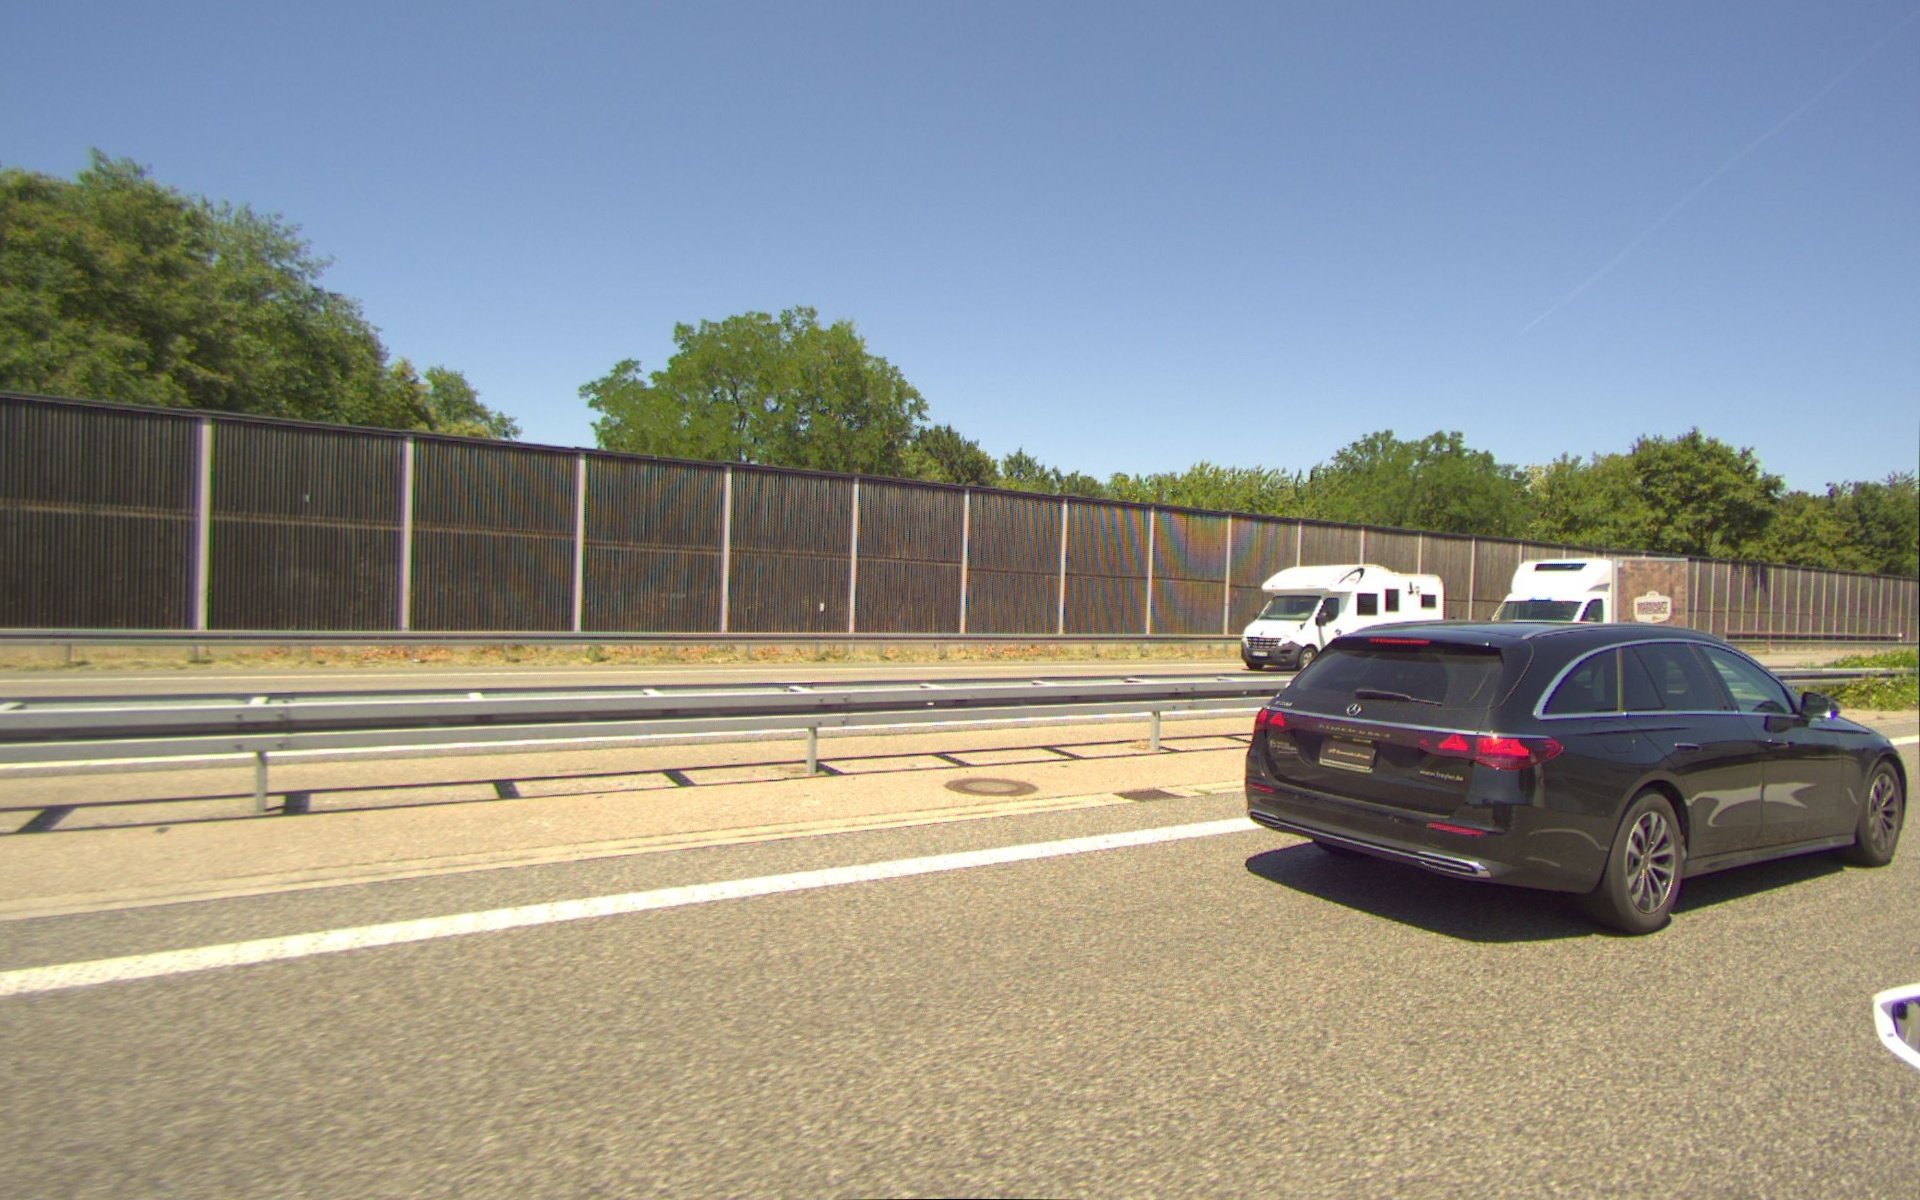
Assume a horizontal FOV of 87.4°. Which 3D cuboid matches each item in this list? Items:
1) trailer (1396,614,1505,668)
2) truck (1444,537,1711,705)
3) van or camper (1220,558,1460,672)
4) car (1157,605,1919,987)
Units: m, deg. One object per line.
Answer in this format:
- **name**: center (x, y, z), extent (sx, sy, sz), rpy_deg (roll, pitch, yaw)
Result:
- **trailer**: center (15.423, 1.266, 31.558), extent (3.057, 1.599, 1.718), rpy_deg (1, -1, -32)
- **truck**: center (14.363, 0.500, 23.197), extent (6.841, 3.397, 2.397), rpy_deg (1, -1, -31)
- **van or camper**: center (11.036, 0.470, 28.931), extent (7.293, 2.952, 2.544), rpy_deg (2, -1, -32)
- **car**: center (4.076, 0.852, 6.361), extent (5.754, 1.526, 1.934), rpy_deg (1, -1, -31)
